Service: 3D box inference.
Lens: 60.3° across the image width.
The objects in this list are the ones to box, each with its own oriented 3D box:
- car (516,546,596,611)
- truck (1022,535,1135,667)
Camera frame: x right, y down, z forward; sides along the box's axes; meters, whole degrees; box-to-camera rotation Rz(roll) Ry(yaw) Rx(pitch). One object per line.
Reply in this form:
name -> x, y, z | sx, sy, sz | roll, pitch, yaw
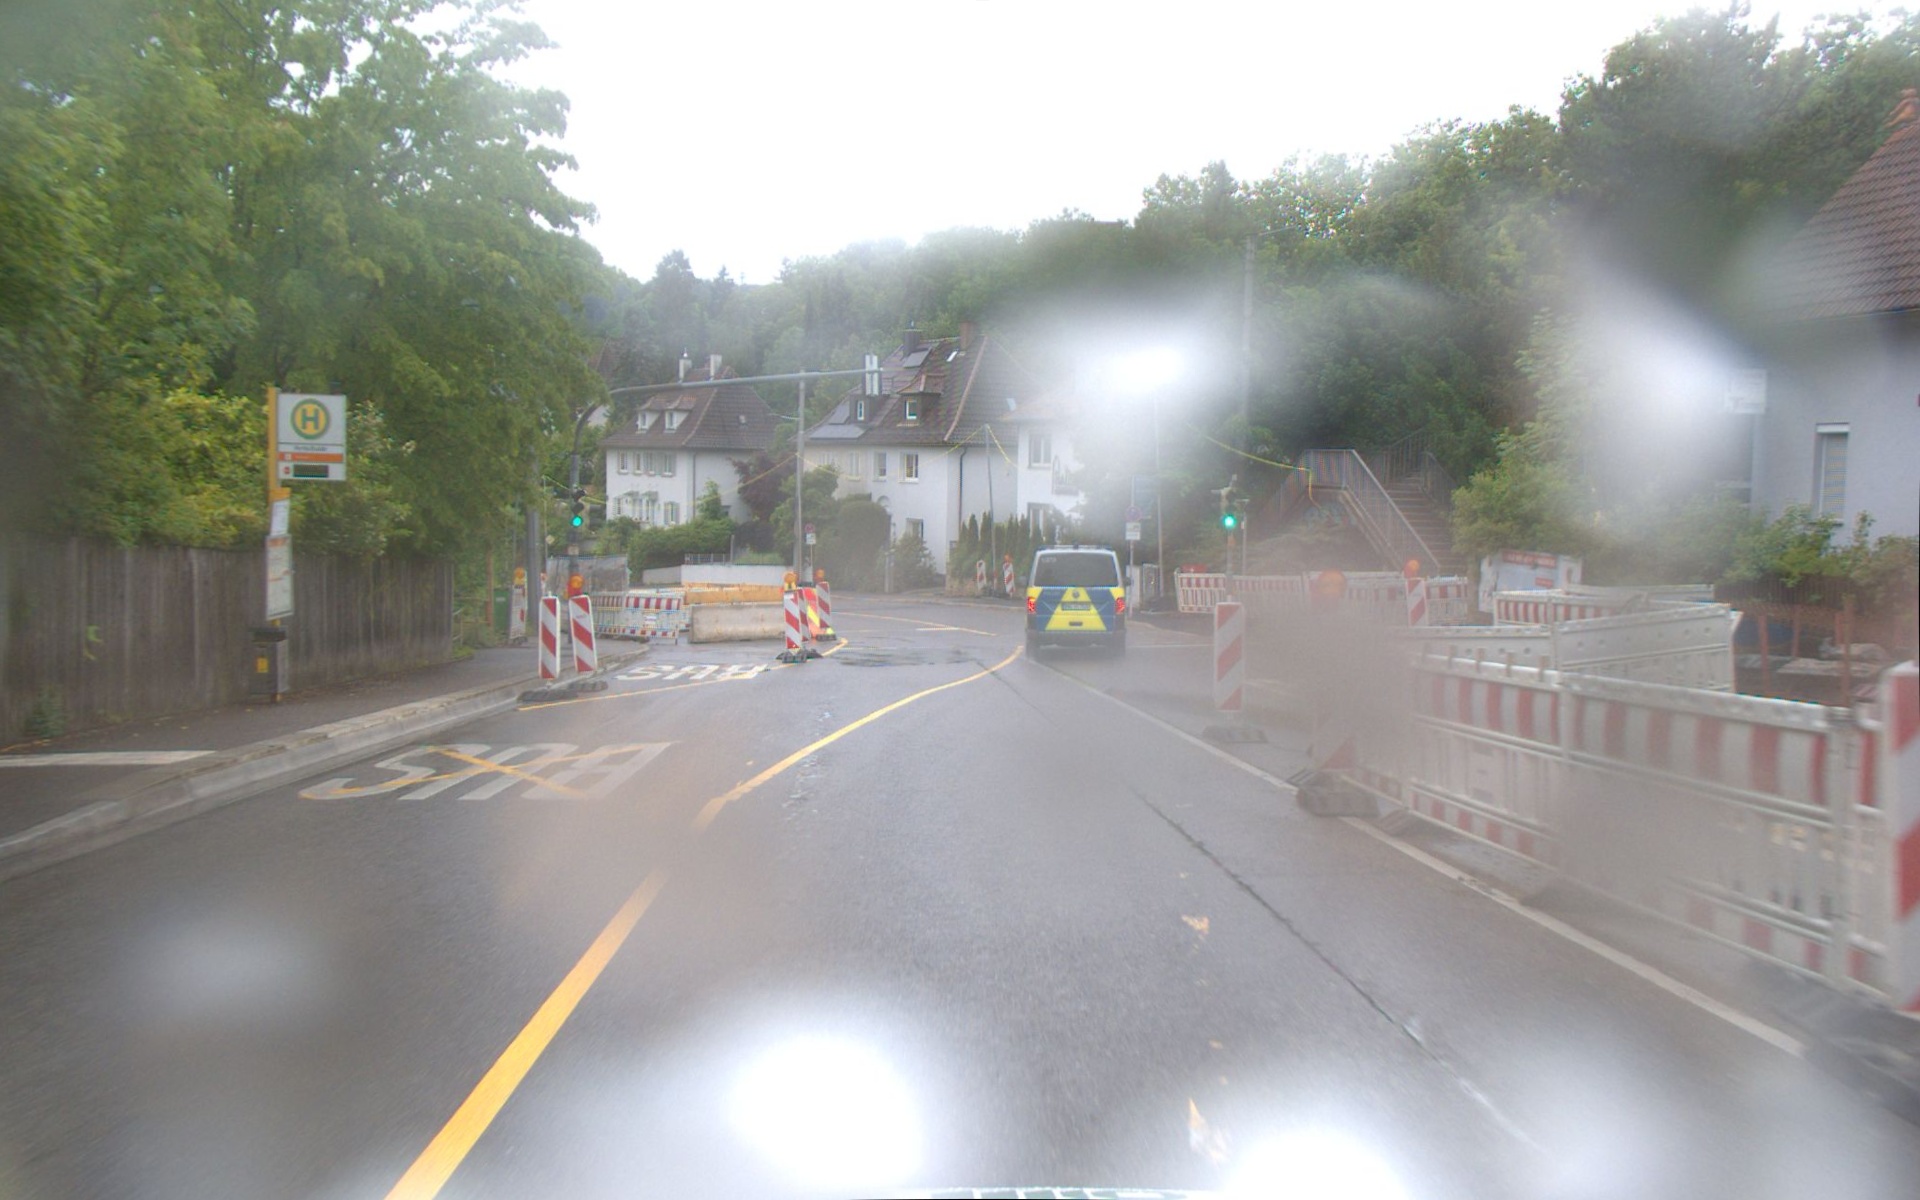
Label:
car -> -13.599, -0.715, 55.463 | 1.965, 2.049, 4.776 | 1, 0, -21
truck -> 2.299, -0.062, 31.197 | 1.951, 2.047, 4.741 | 0, 5, 5
